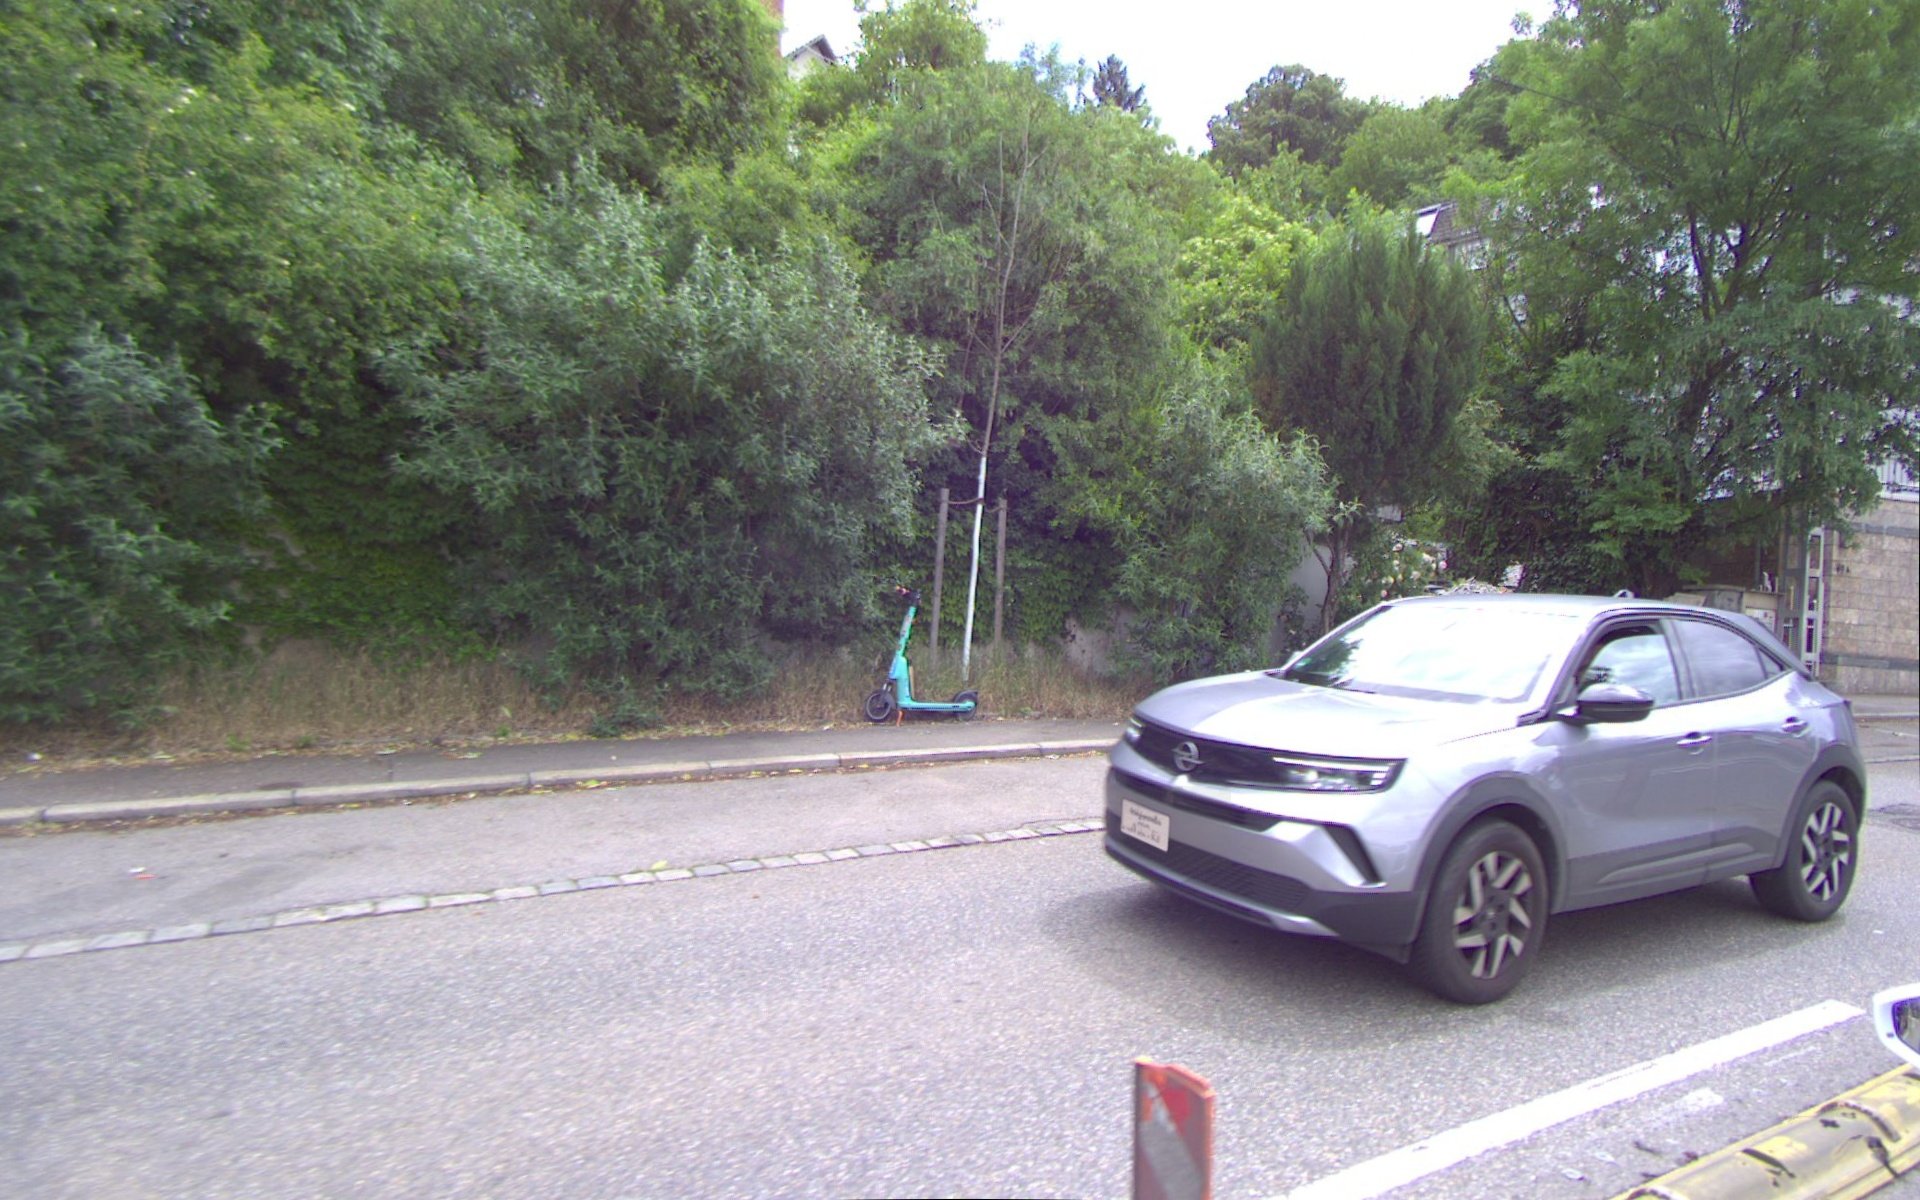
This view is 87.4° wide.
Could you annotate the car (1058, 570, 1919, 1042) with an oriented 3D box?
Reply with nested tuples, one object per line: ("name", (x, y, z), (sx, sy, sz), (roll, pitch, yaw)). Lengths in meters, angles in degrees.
("car", (2.646, 0.691, 4.951), (3.973, 1.538, 1.761), (1, 1, -27))

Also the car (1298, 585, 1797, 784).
("car", (5.643, 0.708, 9.587), (4.620, 1.471, 1.730), (2, 3, -25))

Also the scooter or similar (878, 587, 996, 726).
("scooter or similar", (-0.213, 0.516, 9.431), (1.034, 1.229, 0.347), (1, 3, -33))

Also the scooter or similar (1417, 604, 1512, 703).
("scooter or similar", (6.619, 0.697, 13.178), (1.105, 1.248, 0.415), (2, 3, -22))
